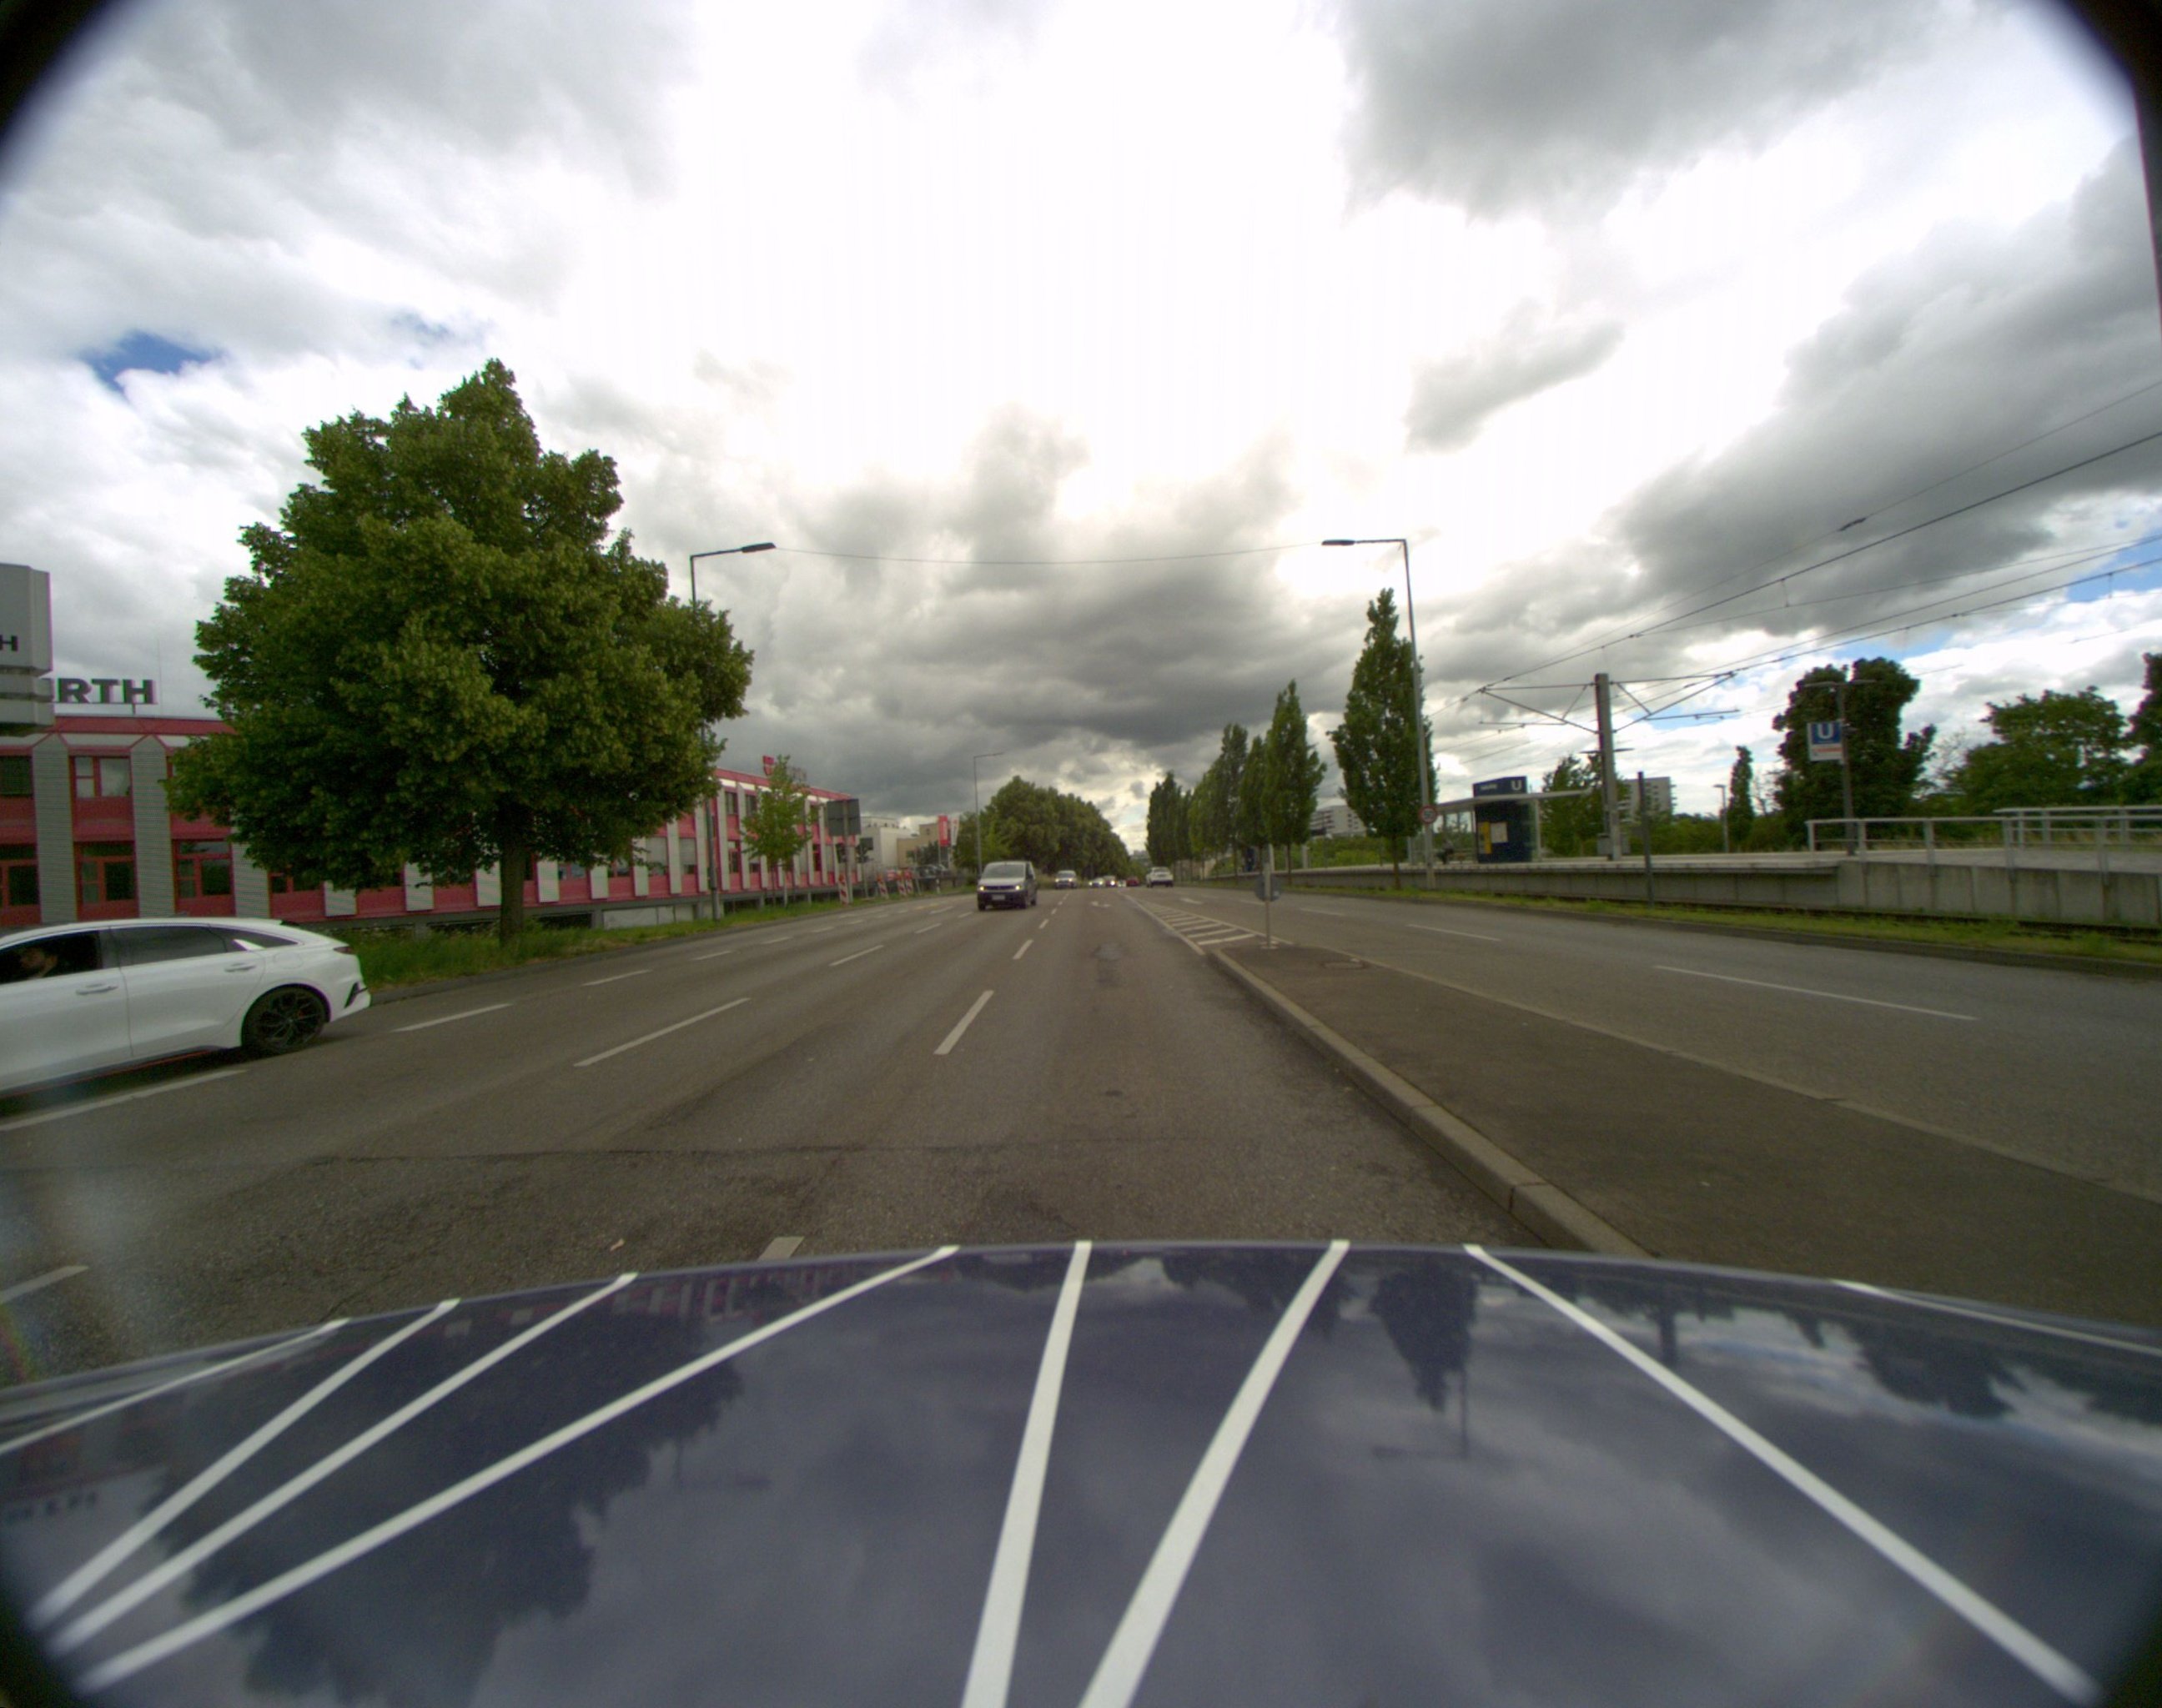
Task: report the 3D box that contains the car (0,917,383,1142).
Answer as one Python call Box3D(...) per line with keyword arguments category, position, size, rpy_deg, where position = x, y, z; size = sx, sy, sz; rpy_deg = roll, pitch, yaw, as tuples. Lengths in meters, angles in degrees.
Box3D(category="car", position=(-8.530, 1.406, 5.899), size=(1.784, 1.354, 4.481), rpy_deg=(-3, 0, 5))

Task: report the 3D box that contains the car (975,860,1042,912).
Box3D(category="car", position=(-2.693, 1.146, 29.132), size=(1.782, 1.744, 4.253), rpy_deg=(-2, 0, 4))

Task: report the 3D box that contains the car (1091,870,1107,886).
Box3D(category="car", position=(2.292, 3.019, 96.632), size=(1.782, 1.744, 4.253), rpy_deg=(-2, 0, 3))

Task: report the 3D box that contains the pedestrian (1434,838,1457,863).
Box3D(category="pedestrian", position=(17.610, -0.172, 36.727), size=(0.663, 1.195, 0.782), rpy_deg=(-2, 0, -7))

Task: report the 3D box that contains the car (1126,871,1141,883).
Box3D(category="car", position=(6.960, 3.039, 101.349), size=(1.785, 1.434, 4.427), rpy_deg=(-3, -1, 2))

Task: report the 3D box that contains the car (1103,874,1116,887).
Box3D(category="car", position=(4.248, 3.837, 111.478), size=(1.782, 1.744, 4.253), rpy_deg=(-2, 0, 3))

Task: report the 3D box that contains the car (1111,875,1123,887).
Box3D(category="car", position=(5.974, 4.467, 125.707), size=(1.782, 1.744, 4.253), rpy_deg=(-2, 0, 3))

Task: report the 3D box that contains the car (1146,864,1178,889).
Box3D(category="car", position=(6.249, 1.788, 59.152), size=(1.834, 1.618, 4.429), rpy_deg=(-2, -5, -2))

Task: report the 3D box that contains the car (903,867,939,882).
Box3D(category="car", position=(-21.232, 2.690, 100.996), size=(4.248, 1.744, 1.784), rpy_deg=(-2, 0, 2))

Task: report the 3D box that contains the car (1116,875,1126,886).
Box3D(category="car", position=(7.105, 4.723, 134.706), size=(1.782, 1.744, 4.253), rpy_deg=(-2, 0, 3))

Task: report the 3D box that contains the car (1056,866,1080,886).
Box3D(category="car", position=(-1.173, 2.103, 72.955), size=(1.984, 1.744, 4.253), rpy_deg=(-2, 0, 3))
